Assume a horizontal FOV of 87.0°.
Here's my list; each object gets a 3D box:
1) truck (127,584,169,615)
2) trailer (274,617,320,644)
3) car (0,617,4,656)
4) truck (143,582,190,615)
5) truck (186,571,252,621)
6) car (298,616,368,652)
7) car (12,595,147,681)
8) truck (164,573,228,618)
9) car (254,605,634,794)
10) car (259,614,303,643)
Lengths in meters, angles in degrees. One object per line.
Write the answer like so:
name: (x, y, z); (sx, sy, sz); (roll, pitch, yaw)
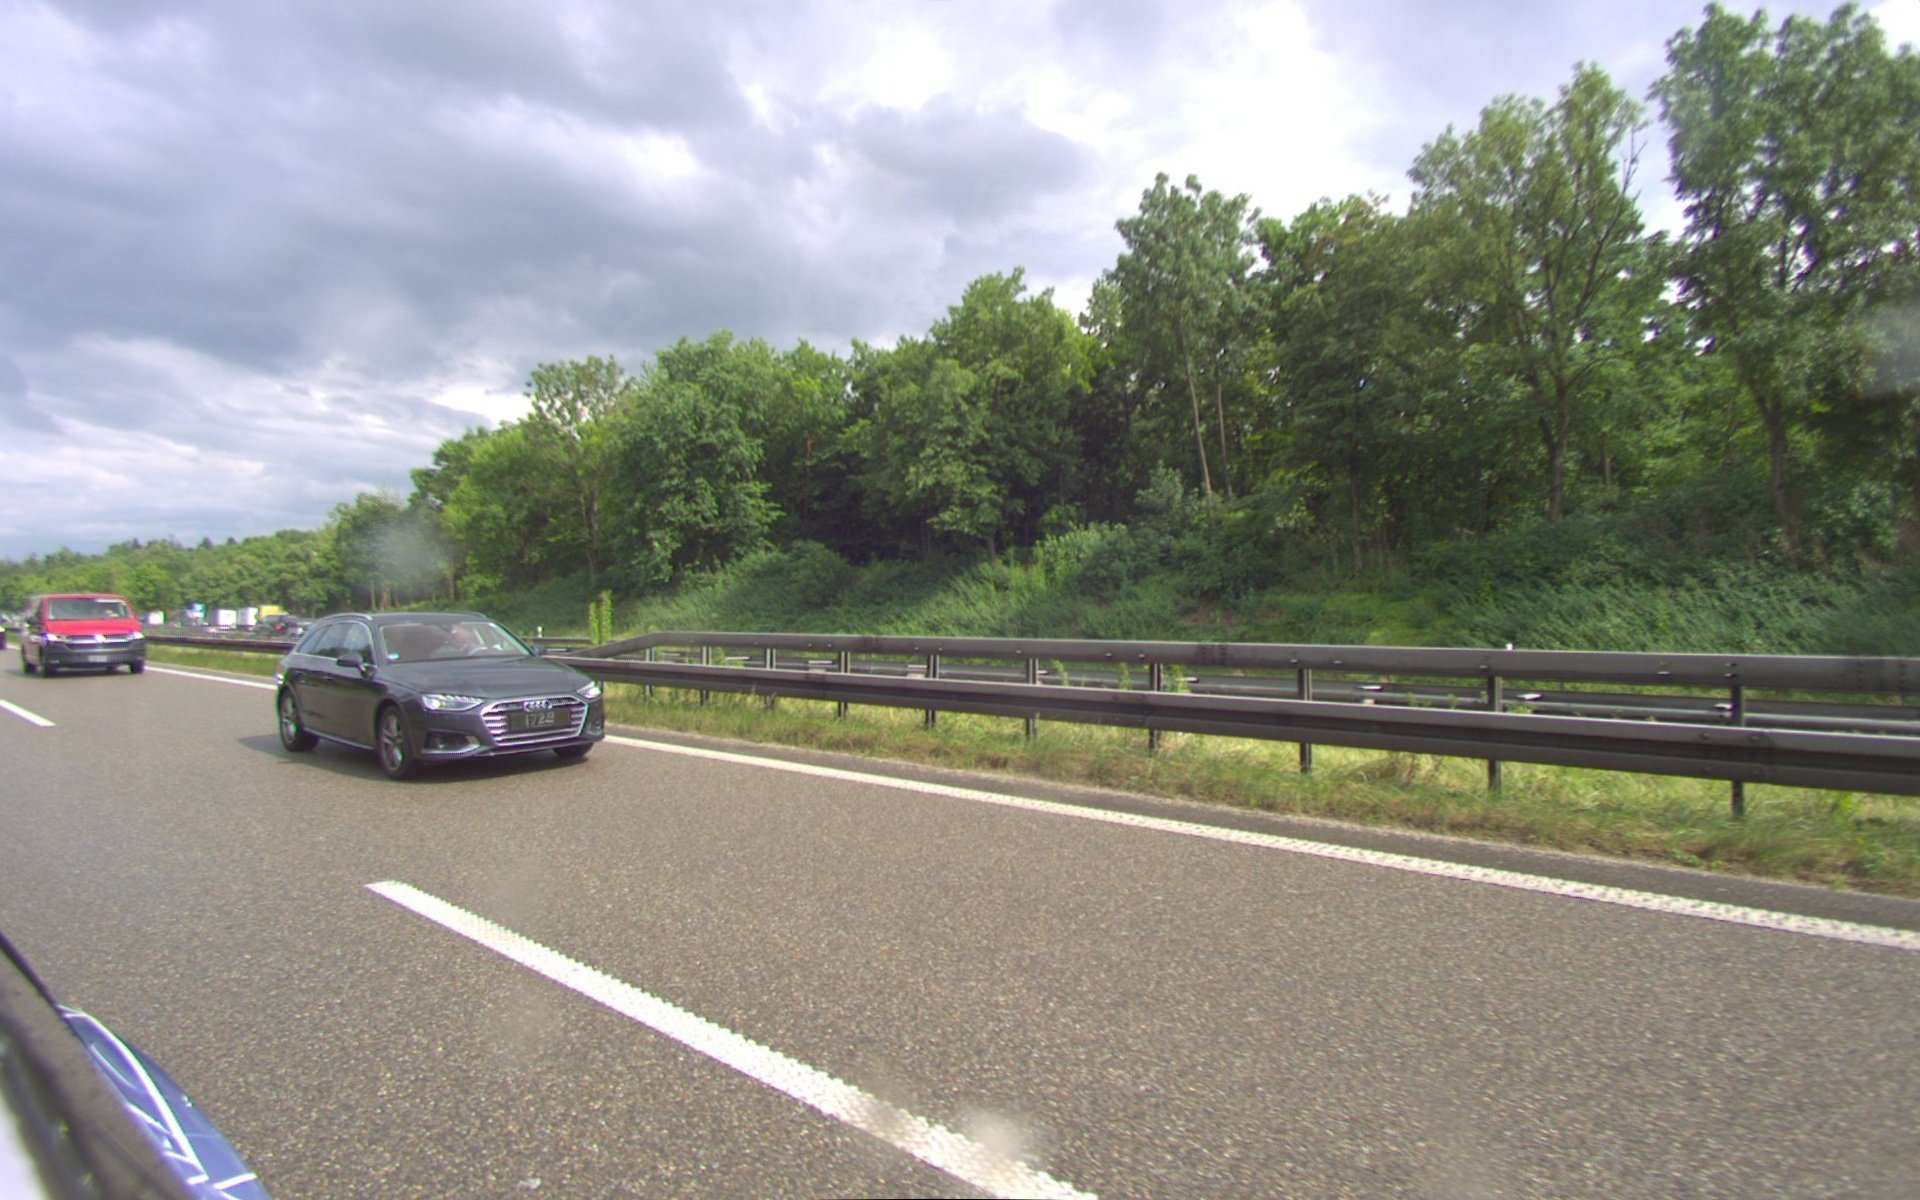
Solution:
truck: (-129.257, -0.058, 160.974); (11.874, 4.756, 3.574); (-1, 0, 43)
trailer: (-43.844, 1.973, 66.885); (3.877, 1.675, 1.568); (-1, 0, 41)
car: (-40.591, 1.482, 41.242); (4.838, 1.508, 1.983); (-1, 0, 42)
truck: (-116.320, -0.176, 148.337); (11.874, 4.756, 3.574); (-1, 0, 43)
truck: (-74.743, -0.349, 101.943); (9.802, 4.756, 3.574); (-1, 0, 43)
car: (-31.529, 1.658, 50.859); (4.234, 1.675, 1.835); (-1, 0, 41)
car: (-21.362, 0.838, 24.491); (4.838, 1.880, 1.901); (-1, 0, 42)
truck: (-84.143, -0.454, 111.389); (11.874, 4.756, 3.574); (-1, 0, 43)
car: (-5.318, 0.788, 10.074); (4.838, 1.429, 1.775); (-1, 0, 42)
car: (-46.410, 1.926, 69.139); (3.681, 1.840, 1.568); (-1, 0, 41)
